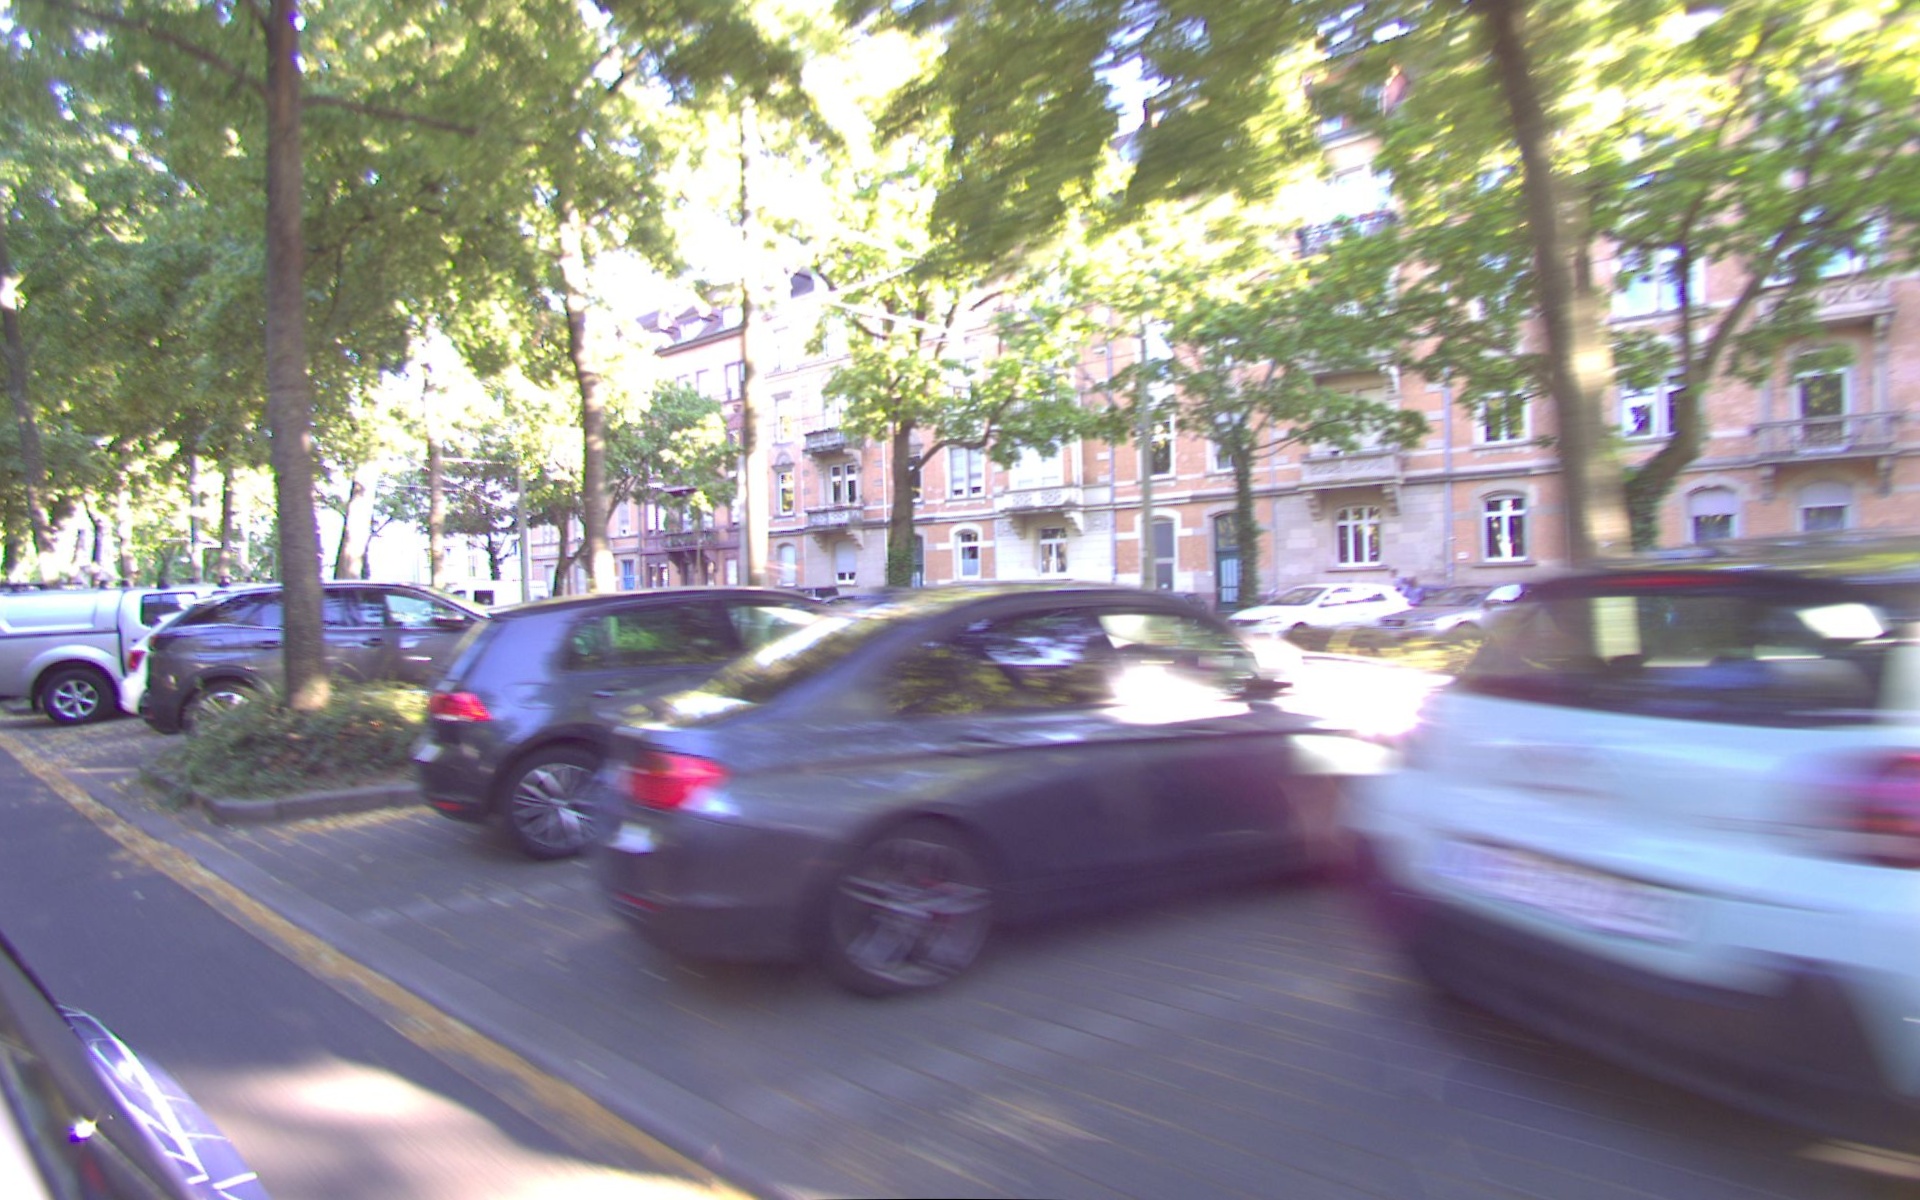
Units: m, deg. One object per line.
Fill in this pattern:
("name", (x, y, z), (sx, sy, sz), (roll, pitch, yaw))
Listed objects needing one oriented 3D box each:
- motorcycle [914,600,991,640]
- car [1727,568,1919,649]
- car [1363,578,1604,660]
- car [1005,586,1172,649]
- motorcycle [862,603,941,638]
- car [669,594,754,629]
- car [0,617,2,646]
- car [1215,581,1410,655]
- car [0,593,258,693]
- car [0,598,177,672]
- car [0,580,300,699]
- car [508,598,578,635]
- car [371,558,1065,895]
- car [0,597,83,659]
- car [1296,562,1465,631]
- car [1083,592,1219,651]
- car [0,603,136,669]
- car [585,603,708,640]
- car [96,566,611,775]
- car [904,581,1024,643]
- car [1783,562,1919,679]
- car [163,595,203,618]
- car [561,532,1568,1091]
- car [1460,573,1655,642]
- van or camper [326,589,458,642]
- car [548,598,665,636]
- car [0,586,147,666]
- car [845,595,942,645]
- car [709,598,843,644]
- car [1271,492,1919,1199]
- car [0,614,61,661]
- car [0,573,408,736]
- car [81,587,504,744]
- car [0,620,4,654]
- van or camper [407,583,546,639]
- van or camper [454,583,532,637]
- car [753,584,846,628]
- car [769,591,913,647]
("motorcycle", (-0.204, 0.501, 26.262), (1.698, 0.962, 1.023), (-1, 0, -29))
("car", (19.643, 0.172, 21.903), (4.766, 1.552, 1.833), (-3, 2, 39))
("car", (10.068, 0.335, 19.472), (4.216, 1.391, 1.599), (-1, 0, -19))
("car", (3.143, 0.404, 24.854), (3.674, 1.391, 1.713), (-1, 0, -24))
("motorcycle", (-1.590, 0.543, 27.293), (1.944, 0.895, 1.023), (-1, 0, -13))
("car", (-11.812, 0.582, 48.035), (4.019, 1.543, 1.833), (-2, -2, 39))
("car", (-49.363, 1.433, 48.289), (4.802, 1.992, 2.052), (-4, 2, -21))
("car", (7.413, 0.353, 21.283), (3.674, 1.391, 1.733), (-1, 0, -25))
("car", (-17.235, 0.836, 20.816), (4.090, 1.656, 1.921), (-4, 2, -16))
("car", (-23.844, 0.934, 26.799), (4.443, 1.628, 1.860), (-4, 2, -17))
("car", (-14.936, 0.658, 18.701), (4.092, 1.794, 1.889), (-4, 2, -12))
("car", (-23.695, 0.939, 57.512), (3.995, 2.029, 1.974), (-1, 0, 39))
("car", (-1.470, 0.580, 6.563), (3.806, 1.449, 1.838), (-4, 2, -24))
("car", (-33.429, 1.057, 34.679), (4.634, 1.957, 1.941), (-4, 2, -17))
("car", (11.695, -0.065, 28.253), (3.995, 1.789, 1.777), (-2, 0, 38))
("car", (6.199, 0.698, 33.008), (3.995, 1.789, 1.777), (-2, -1, 38))
("car", (-26.488, 1.059, 28.673), (4.442, 1.628, 1.941), (-4, 2, -25))
("car", (-11.398, 0.755, 36.809), (4.131, 1.176, 1.504), (-1, 0, -22))
("car", (-6.091, 0.599, 10.819), (4.283, 1.638, 1.948), (-4, 2, -21))
("car", (0.117, 0.458, 37.582), (3.995, 2.028, 1.975), (-3, 2, 39))
("car", (14.881, 0.265, 15.682), (3.588, 1.652, 1.666), (-1, 0, -20))
("car", (-73.607, 0.598, 95.848), (3.991, 2.029, 1.976), (-2, -1, 36))
("car", (0.489, 0.551, 4.609), (4.128, 1.449, 1.838), (-4, 2, -24))
("car", (15.264, 0.207, 25.946), (4.054, 1.530, 1.833), (-3, 2, 39))
("van or camper", (-28.201, 0.743, 50.492), (5.579, 2.487, 2.006), (-1, -1, -26))
("car", (-13.486, 0.626, 38.646), (4.116, 1.320, 1.641), (-1, 0, -21))
("car", (-28.518, 0.839, 30.758), (5.420, 2.152, 2.088), (-4, 2, -20))
("car", (-2.701, 0.800, 40.876), (3.504, 1.796, 1.833), (-3, 2, 39))
("car", (-5.926, 0.664, 32.760), (3.931, 1.327, 1.599), (-1, 0, -30))
("car", (3.116, 0.428, 3.039), (3.818, 1.504, 1.838), (-4, 2, -23))
("car", (-35.660, 1.469, 36.387), (4.494, 1.552, 1.941), (-4, 2, -17))
("car", (-10.814, 0.674, 14.354), (4.916, 1.794, 1.994), (-4, 2, -21))
("car", (-8.085, 0.707, 12.762), (4.089, 1.470, 1.777), (-4, 2, -21))
("car", (-42.860, 1.725, 42.270), (3.760, 1.449, 1.831), (-4, 2, -16))
("van or camper", (-21.421, 0.473, 45.142), (5.455, 2.389, 2.315), (-1, -1, -22))
("van or camper", (-28.364, 0.645, 61.412), (5.508, 3.133, 2.054), (-1, -3, 39))
("car", (-7.022, 0.317, 44.107), (4.019, 1.796, 1.833), (-2, -2, 39))
("car", (-3.642, 0.554, 30.924), (3.930, 1.590, 2.007), (-1, 0, -24))
